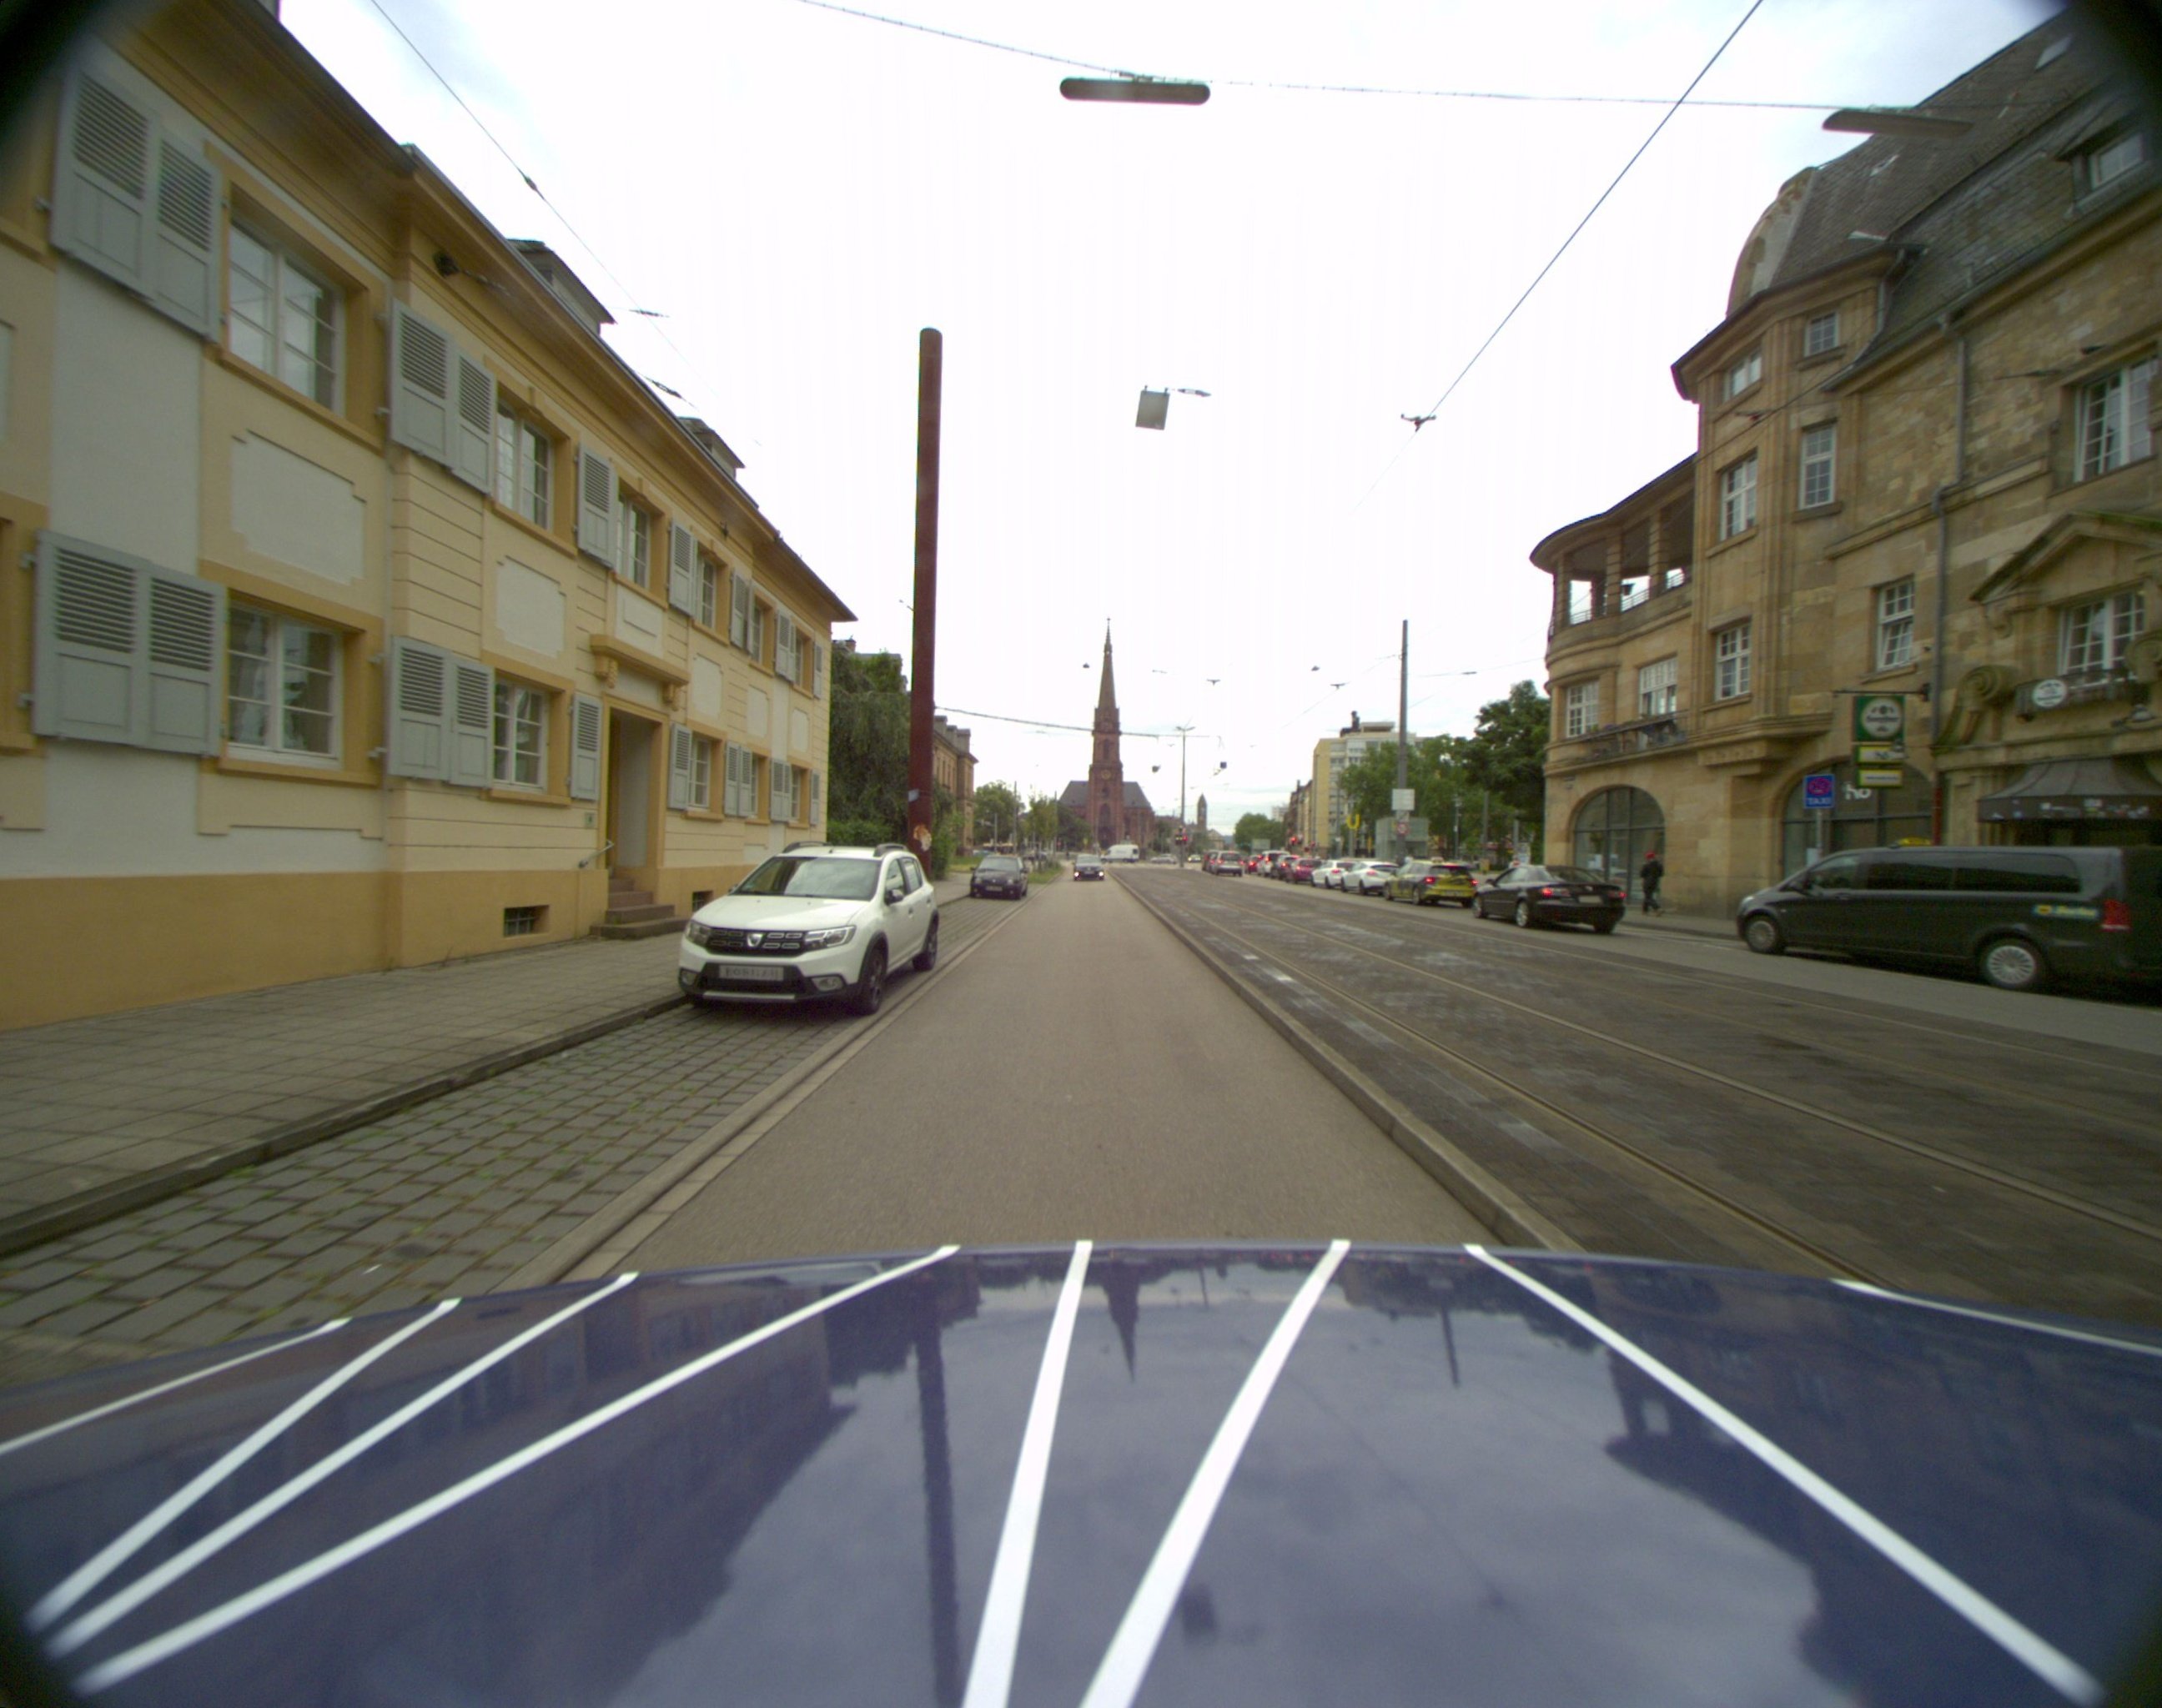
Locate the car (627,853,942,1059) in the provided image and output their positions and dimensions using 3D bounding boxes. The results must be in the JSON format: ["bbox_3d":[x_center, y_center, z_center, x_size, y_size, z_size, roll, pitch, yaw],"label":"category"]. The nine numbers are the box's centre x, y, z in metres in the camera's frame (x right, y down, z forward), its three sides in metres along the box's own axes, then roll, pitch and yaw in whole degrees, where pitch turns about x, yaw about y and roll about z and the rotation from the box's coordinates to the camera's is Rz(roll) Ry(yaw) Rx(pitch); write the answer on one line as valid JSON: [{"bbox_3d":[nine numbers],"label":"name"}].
[{"bbox_3d":[-2.773,0.834,8.147,1.759,1.565,3.930,3,0,0],"label":"car"}]

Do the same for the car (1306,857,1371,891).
[{"bbox_3d":[12.449,0.927,36.994,1.751,1.372,4.362,4,1,2],"label":"car"}]

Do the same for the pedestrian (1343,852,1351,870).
[{"bbox_3d":[25.302,0.639,72.214,0.601,1.718,0.914,1,1,26],"label":"pedestrian"}]

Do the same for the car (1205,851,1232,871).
[{"bbox_3d":[10.755,0.532,59.561,1.692,1.434,4.001,1,1,4],"label":"car"}]

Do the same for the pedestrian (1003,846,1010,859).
[{"bbox_3d":[-11.618,-0.274,118.192,0.782,1.932,0.979,1,1,-22],"label":"pedestrian"}]

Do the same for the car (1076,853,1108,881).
[{"bbox_3d":[0.560,0.664,41.568,1.655,1.404,3.999,1,0,-1],"label":"car"}]

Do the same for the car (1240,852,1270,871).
[{"bbox_3d":[13.858,0.590,60.675,1.692,1.434,4.001,1,1,4],"label":"car"}]

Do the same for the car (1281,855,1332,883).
[{"bbox_3d":[12.547,0.806,42.424,1.867,1.391,3.896,3,1,4],"label":"car"}]

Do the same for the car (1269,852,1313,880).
[{"bbox_3d":[13.152,0.717,47.756,1.867,1.525,4.304,3,1,5],"label":"car"}]

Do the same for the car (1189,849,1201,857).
[{"bbox_3d":[21.849,-0.170,145.489,1.997,1.433,4.003,1,0,10],"label":"car"}]

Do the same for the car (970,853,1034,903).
[{"bbox_3d":[-2.550,0.740,25.260,1.641,1.425,3.930,3,0,0],"label":"car"}]

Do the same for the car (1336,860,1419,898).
[{"bbox_3d":[12.035,0.952,31.106,1.931,1.372,4.259,1,0,4],"label":"car"}]

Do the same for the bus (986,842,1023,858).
[{"bbox_3d":[-16.214,-0.833,160.531,2.869,3.060,11.988,0,2,-31],"label":"bus"}]

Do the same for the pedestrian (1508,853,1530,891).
[{"bbox_3d":[19.911,0.810,34.512,0.533,1.709,0.631,1,1,-19],"label":"pedestrian"}]

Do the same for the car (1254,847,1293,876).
[{"bbox_3d":[13.714,0.501,54.427,1.867,1.905,5.102,1,0,5],"label":"car"}]

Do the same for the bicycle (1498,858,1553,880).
[{"bbox_3d":[30.256,0.982,51.792,0.962,1.346,3.112,0,2,-31],"label":"bicycle"}]

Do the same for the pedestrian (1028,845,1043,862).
[{"bbox_3d":[-5.000,-0.087,83.541,1.282,1.856,0.889,2,1,34],"label":"pedestrian"}]

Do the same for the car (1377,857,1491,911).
[{"bbox_3d":[11.505,0.911,25.107,1.903,1.502,4.429,2,0,4],"label":"car"}]

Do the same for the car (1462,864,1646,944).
[{"bbox_3d":[10.546,1.014,17.417,1.830,1.425,4.670,3,0,9],"label":"car"}]

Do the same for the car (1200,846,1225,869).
[{"bbox_3d":[11.309,0.254,65.390,1.692,1.889,4.387,1,1,4],"label":"car"}]

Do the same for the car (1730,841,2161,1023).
[{"bbox_3d":[12.454,0.881,10.846,1.904,1.965,5.097,3,0,0],"label":"car"}]

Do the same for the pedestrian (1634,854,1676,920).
[{"bbox_3d":[15.248,0.861,20.201,0.496,1.718,0.765,1,1,-3],"label":"pedestrian"}]

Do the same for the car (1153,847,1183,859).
[{"bbox_3d":[12.931,-0.163,112.952,3.988,1.740,2.004,2,2,37],"label":"car"}]

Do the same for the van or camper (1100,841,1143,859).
[{"bbox_3d":[6.035,-0.652,112.883,6.033,2.596,2.428,2,2,35],"label":"van or camper"}]

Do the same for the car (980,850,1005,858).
[{"bbox_3d":[-14.595,-0.052,125.559,3.731,1.239,1.693,1,1,11],"label":"car"}]

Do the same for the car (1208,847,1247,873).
[{"bbox_3d":[10.248,0.389,53.541,1.867,1.696,4.909,2,0,2],"label":"car"}]
